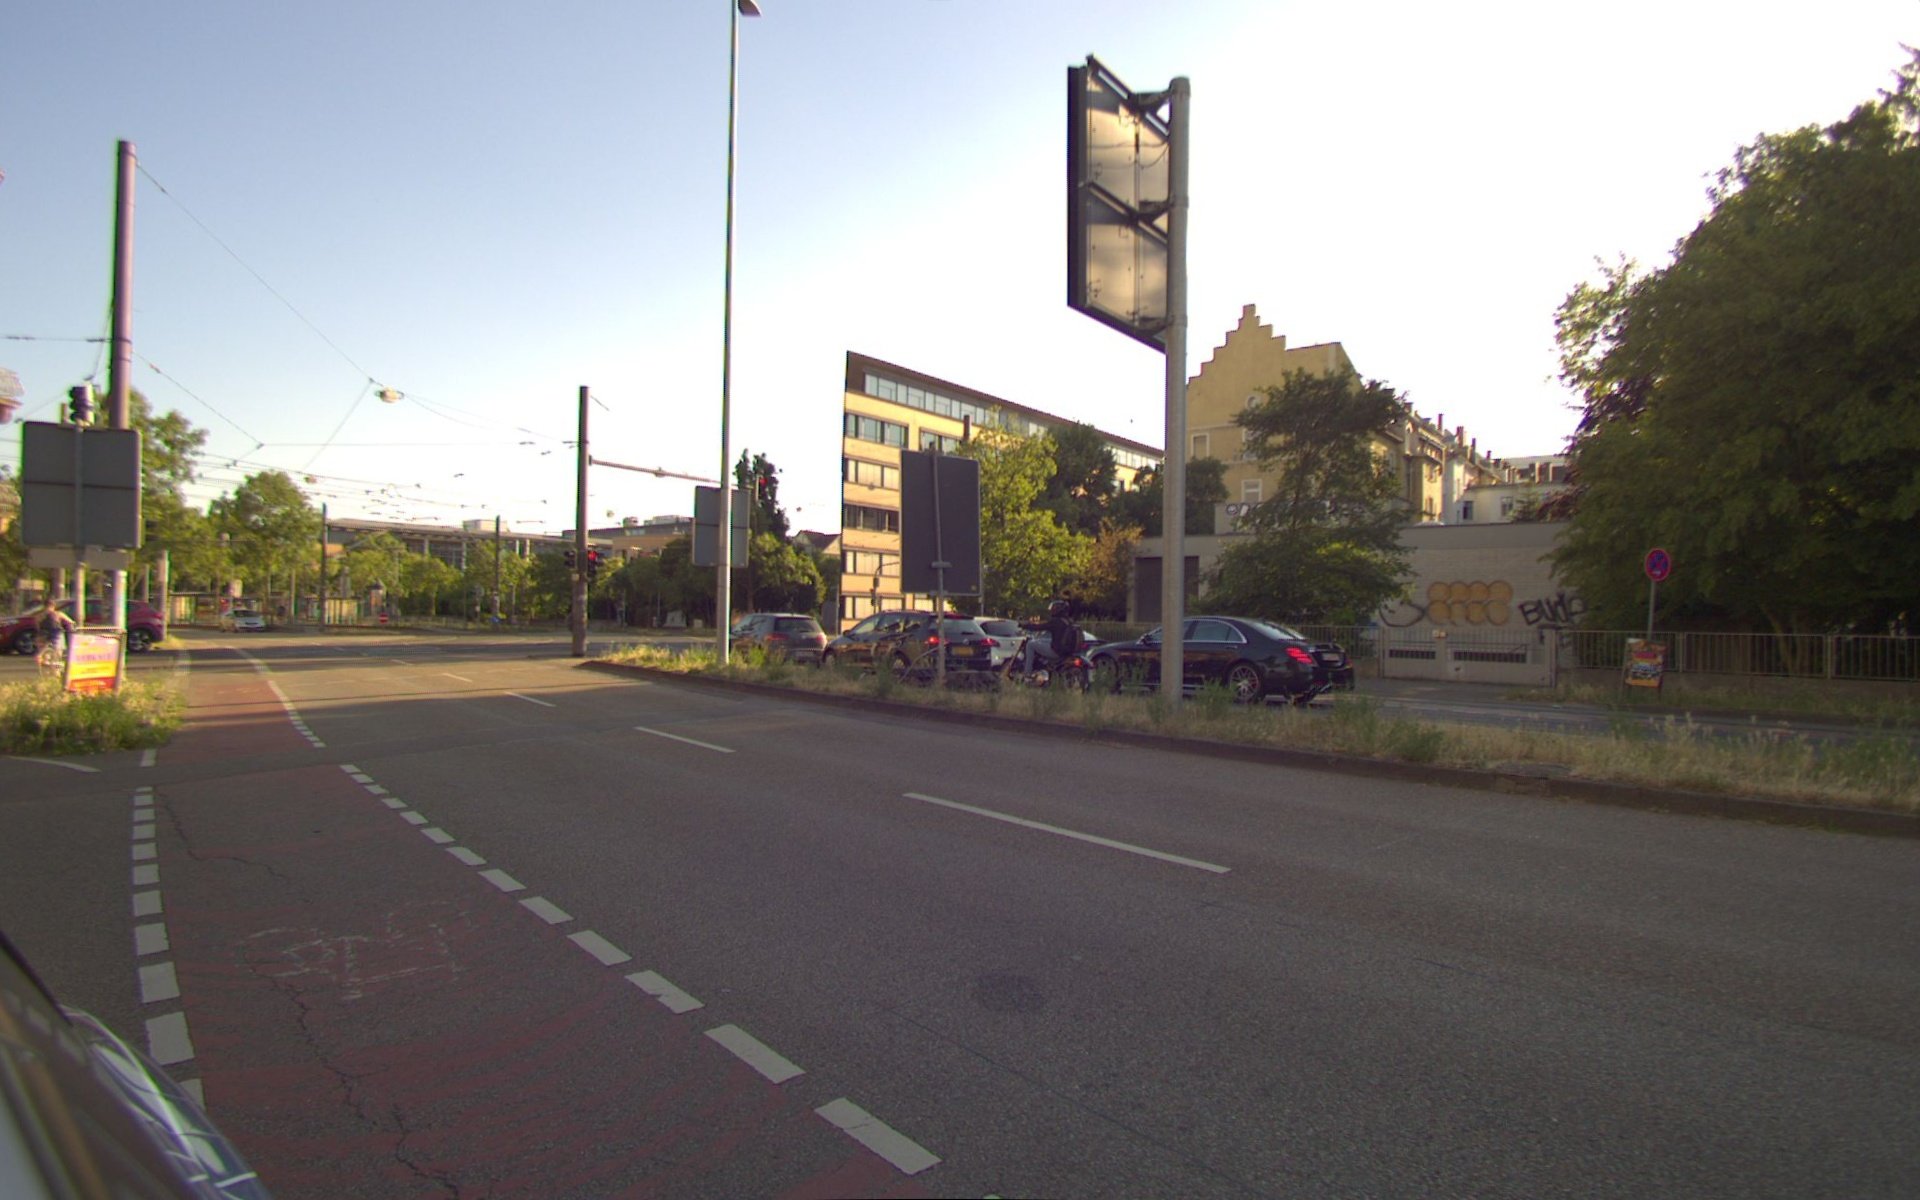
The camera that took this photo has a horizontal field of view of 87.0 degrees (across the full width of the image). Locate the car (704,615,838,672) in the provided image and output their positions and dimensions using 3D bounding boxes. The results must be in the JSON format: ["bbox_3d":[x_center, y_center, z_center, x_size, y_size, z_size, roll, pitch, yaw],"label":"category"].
[{"bbox_3d":[-4.840,1.053,25.473,1.695,1.306,4.259,2,-2,-35],"label":"car"}]

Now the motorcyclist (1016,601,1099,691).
[{"bbox_3d":[1.590,0.742,16.566,0.840,1.409,1.064,2,-2,-36],"label":"motorcyclist"}]

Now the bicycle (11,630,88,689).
[{"bbox_3d":[-17.068,1.091,19.012,0.393,1.037,1.677,1,-2,-18],"label":"bicycle"}]

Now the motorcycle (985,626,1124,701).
[{"bbox_3d":[1.510,1.004,16.658,0.847,1.116,2.475,2,-2,-36],"label":"motorcycle"}]

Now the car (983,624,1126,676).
[{"bbox_3d":[2.545,1.335,28.021,1.696,1.306,3.902,2,-2,-38],"label":"car"}]

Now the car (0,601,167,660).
[{"bbox_3d":[-26.412,0.880,29.842,1.813,1.627,4.423,0,-2,27],"label":"car"}]

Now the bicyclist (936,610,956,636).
[{"bbox_3d":[-1.096,1.810,78.635,0.995,2.029,1.233,0,-2,42],"label":"bicyclist"}]

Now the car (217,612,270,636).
[{"bbox_3d":[-48.711,1.629,68.748,3.997,1.586,1.973,0,-2,40],"label":"car"}]

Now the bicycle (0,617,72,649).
[{"bbox_3d":[-31.106,1.086,33.940,1.053,1.032,2.985,1,-2,-22],"label":"bicycle"}]

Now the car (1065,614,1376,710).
[{"bbox_3d":[4.560,1.026,18.454,1.969,1.507,5.298,2,-2,-42],"label":"car"}]

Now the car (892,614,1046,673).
[{"bbox_3d":[0.142,1.017,24.809,1.696,1.329,3.902,2,-2,-38],"label":"car"}]

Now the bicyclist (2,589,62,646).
[{"bbox_3d":[-31.123,0.586,33.972,1.053,1.856,1.307,1,-2,-22],"label":"bicyclist"}]

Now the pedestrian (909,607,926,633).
[{"bbox_3d":[-3.443,1.631,82.602,0.930,2.029,0.976,0,-2,39],"label":"pedestrian"}]

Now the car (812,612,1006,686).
[{"bbox_3d":[-1.132,0.918,20.119,1.696,1.306,4.387,2,-2,-36],"label":"car"}]

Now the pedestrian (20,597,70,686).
[{"bbox_3d":[-17.152,0.778,18.977,0.481,1.644,0.527,1,-2,-18],"label":"pedestrian"}]
